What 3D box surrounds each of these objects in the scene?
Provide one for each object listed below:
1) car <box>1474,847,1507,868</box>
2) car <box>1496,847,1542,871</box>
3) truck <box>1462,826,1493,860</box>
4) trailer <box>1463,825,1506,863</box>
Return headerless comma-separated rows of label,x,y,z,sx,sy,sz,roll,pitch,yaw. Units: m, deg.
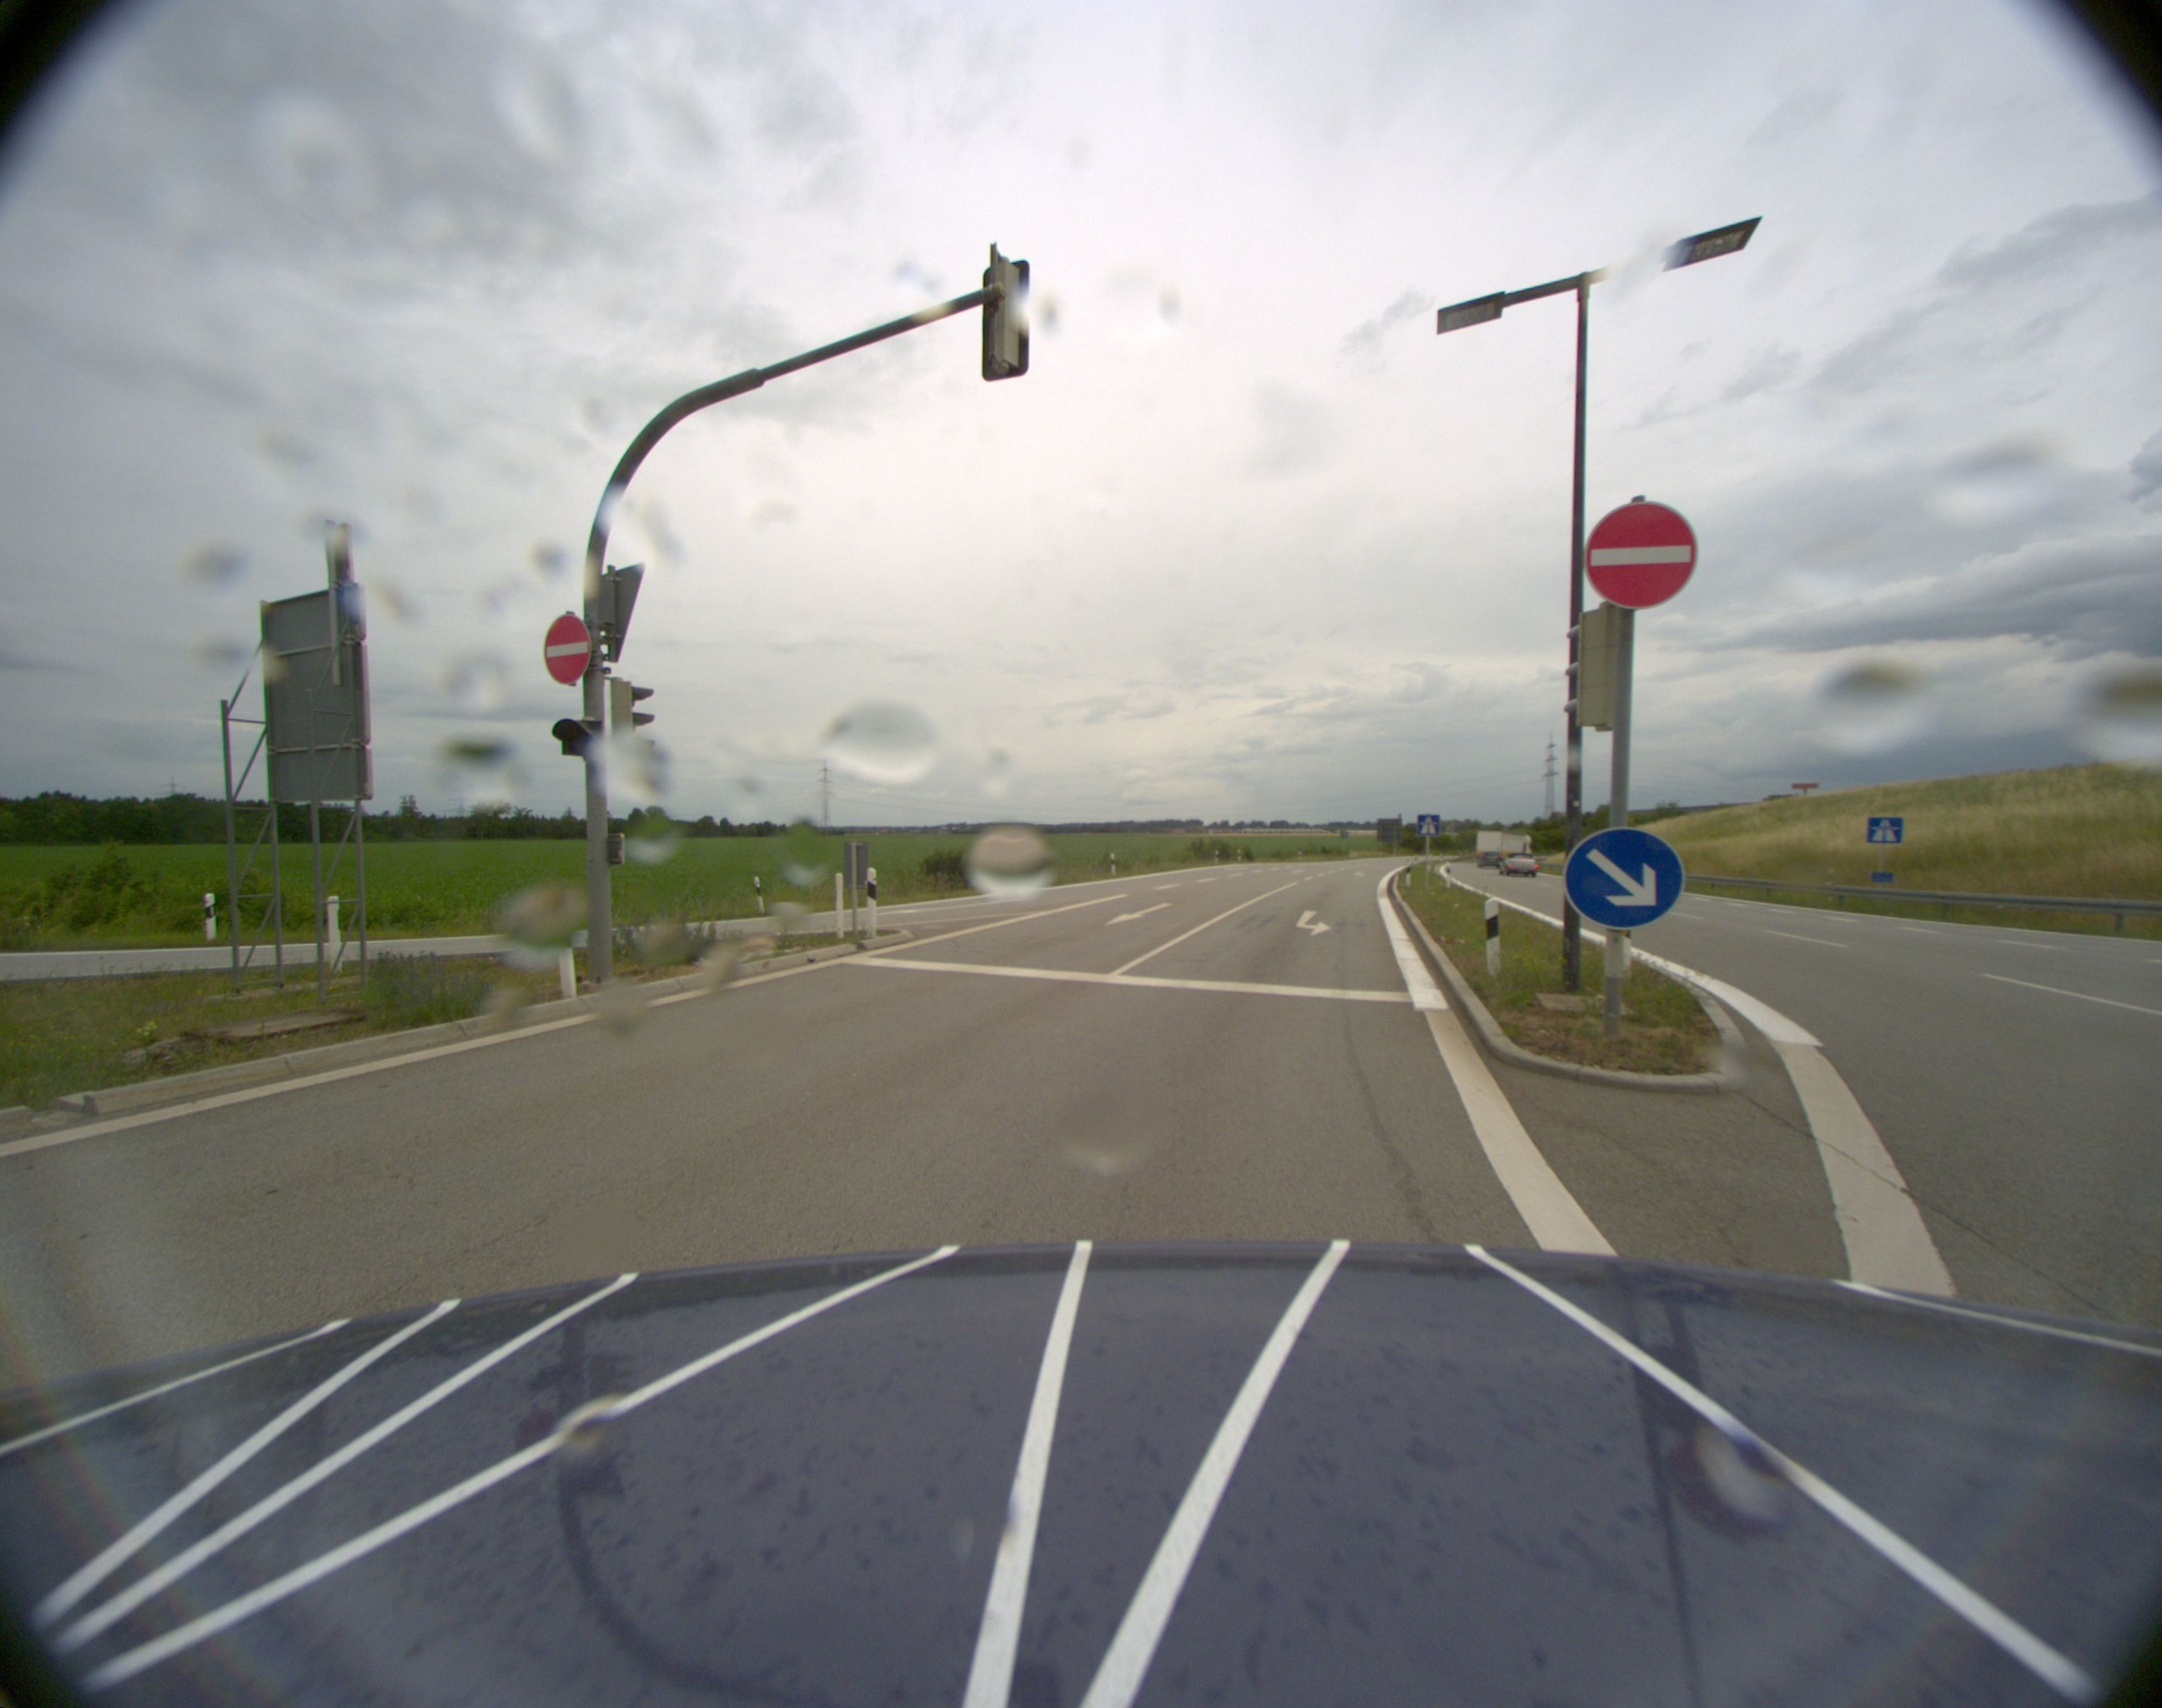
car,37.481,0.284,69.647,1.995,1.684,4.460,1,2,20
car,28.378,0.297,49.347,1.812,1.511,4.248,0,0,20
truck,49.211,-1.454,94.450,2.652,4.118,6.412,1,2,21
trailer,46.921,-1.279,88.713,2.694,4.187,13.859,1,2,21
